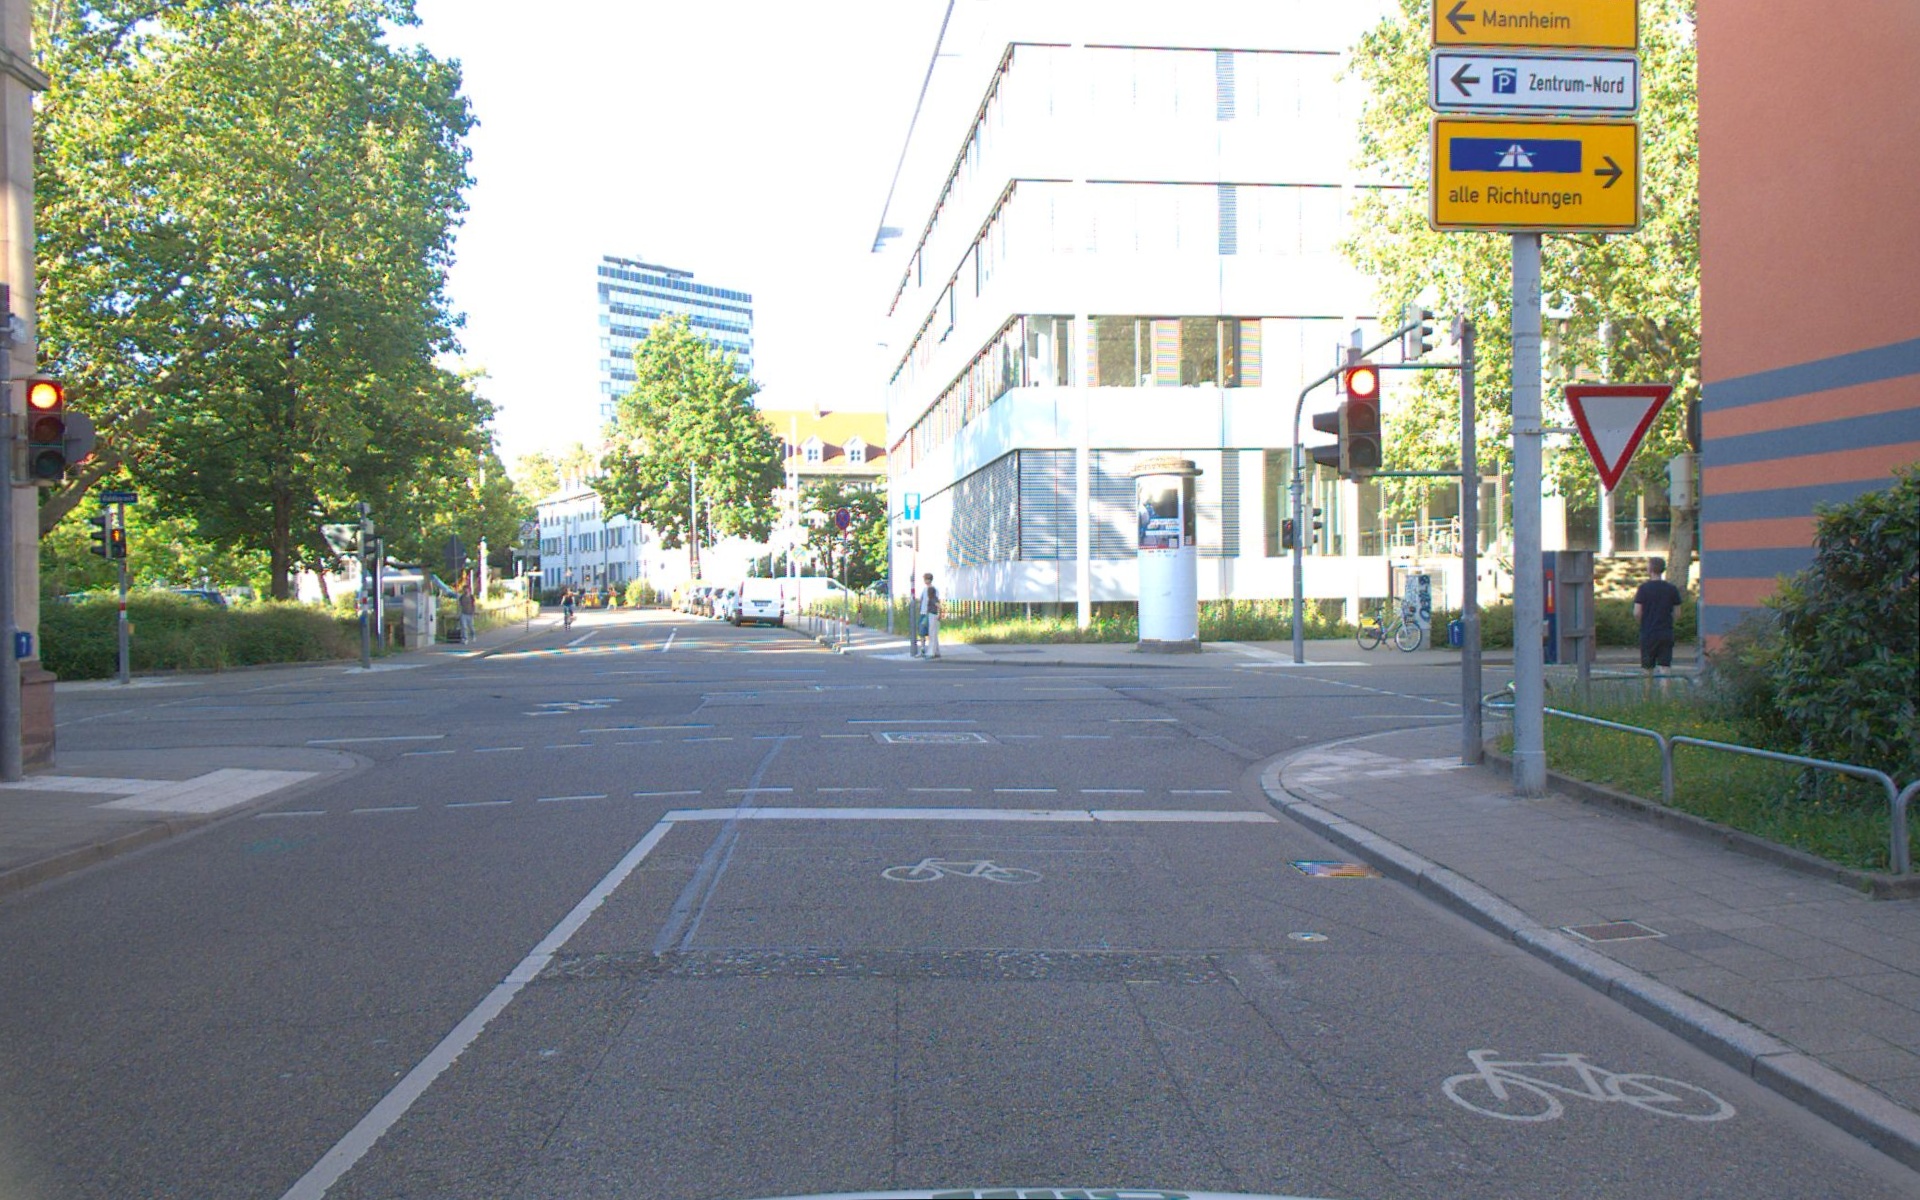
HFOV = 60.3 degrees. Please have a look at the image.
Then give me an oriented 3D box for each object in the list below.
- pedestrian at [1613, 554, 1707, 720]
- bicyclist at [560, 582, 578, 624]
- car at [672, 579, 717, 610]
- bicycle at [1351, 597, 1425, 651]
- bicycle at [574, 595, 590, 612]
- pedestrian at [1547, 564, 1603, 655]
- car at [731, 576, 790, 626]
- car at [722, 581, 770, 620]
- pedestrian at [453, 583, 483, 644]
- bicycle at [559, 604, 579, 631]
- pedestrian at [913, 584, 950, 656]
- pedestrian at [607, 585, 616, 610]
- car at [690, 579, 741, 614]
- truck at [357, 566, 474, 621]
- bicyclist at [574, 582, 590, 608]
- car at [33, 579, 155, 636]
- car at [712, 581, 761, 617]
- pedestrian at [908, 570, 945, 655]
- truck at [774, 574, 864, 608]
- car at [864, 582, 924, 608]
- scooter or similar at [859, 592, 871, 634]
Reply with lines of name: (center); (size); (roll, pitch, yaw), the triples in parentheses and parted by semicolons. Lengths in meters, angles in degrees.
pedestrian: (8.089, 0.416, 19.147); (0.692, 1.872, 0.837); (1, 0, -1)
bicyclist: (-14.886, 0.117, 62.982); (0.604, 1.559, 0.901); (-1, 0, -9)
car: (-15.343, -0.322, 95.267); (1.860, 1.684, 4.391); (0, 1, -19)
bicycle: (9.350, 0.506, 36.172); (0.503, 1.067, 1.667); (-3, 4, -35)
bicycle: (-23.420, 0.228, 102.502); (0.850, 1.027, 2.408); (-3, 0, -11)
pedestrian: (12.840, 0.191, 34.536); (0.819, 1.872, 0.707); (1, 0, -11)
car: (-7.834, 0.000, 64.554); (2.047, 1.827, 4.404); (0, 1, -10)
car: (-9.439, -0.015, 72.800); (1.854, 1.582, 4.404); (0, 1, -10)
pedestrian: (-14.387, 0.397, 48.367); (0.690, 1.753, 0.952); (-2, 0, -12)
bicycle: (-14.875, 0.670, 62.971); (0.604, 0.986, 1.837); (-1, 1, -9)
pedestrian: (-0.644, 0.437, 37.187); (0.551, 1.567, 0.673); (-4, 1, -19)
pedestrian: (-22.455, -0.160, 106.596); (0.428, 1.636, 0.488); (-1, 0, -27)
car: (-12.670, -0.211, 85.371); (1.860, 1.684, 4.391); (0, 1, -19)
truck: (-24.562, -0.320, 74.760); (4.741, 2.441, 2.082); (0, 1, -11)
bicyclist: (-23.444, -0.329, 102.516); (0.850, 1.541, 1.016); (-3, 0, -11)
car: (-39.973, 0.334, 76.444); (4.472, 2.433, 2.069); (-2, 0, -10)
car: (-10.606, -0.089, 78.153); (1.856, 1.582, 4.400); (0, 1, -14)
pedestrian: (-0.759, 0.271, 37.791); (0.547, 1.882, 0.678); (-3, 1, 15)
truck: (-8.773, -0.544, 102.926); (5.258, 2.049, 1.989); (-1, 0, -20)
car: (-4.159, -0.327, 104.181); (3.502, 1.573, 1.549); (-1, 0, -20)
scooter or similar: (-3.363, 0.449, 58.513); (0.324, 1.449, 1.333); (1, 0, -6)
